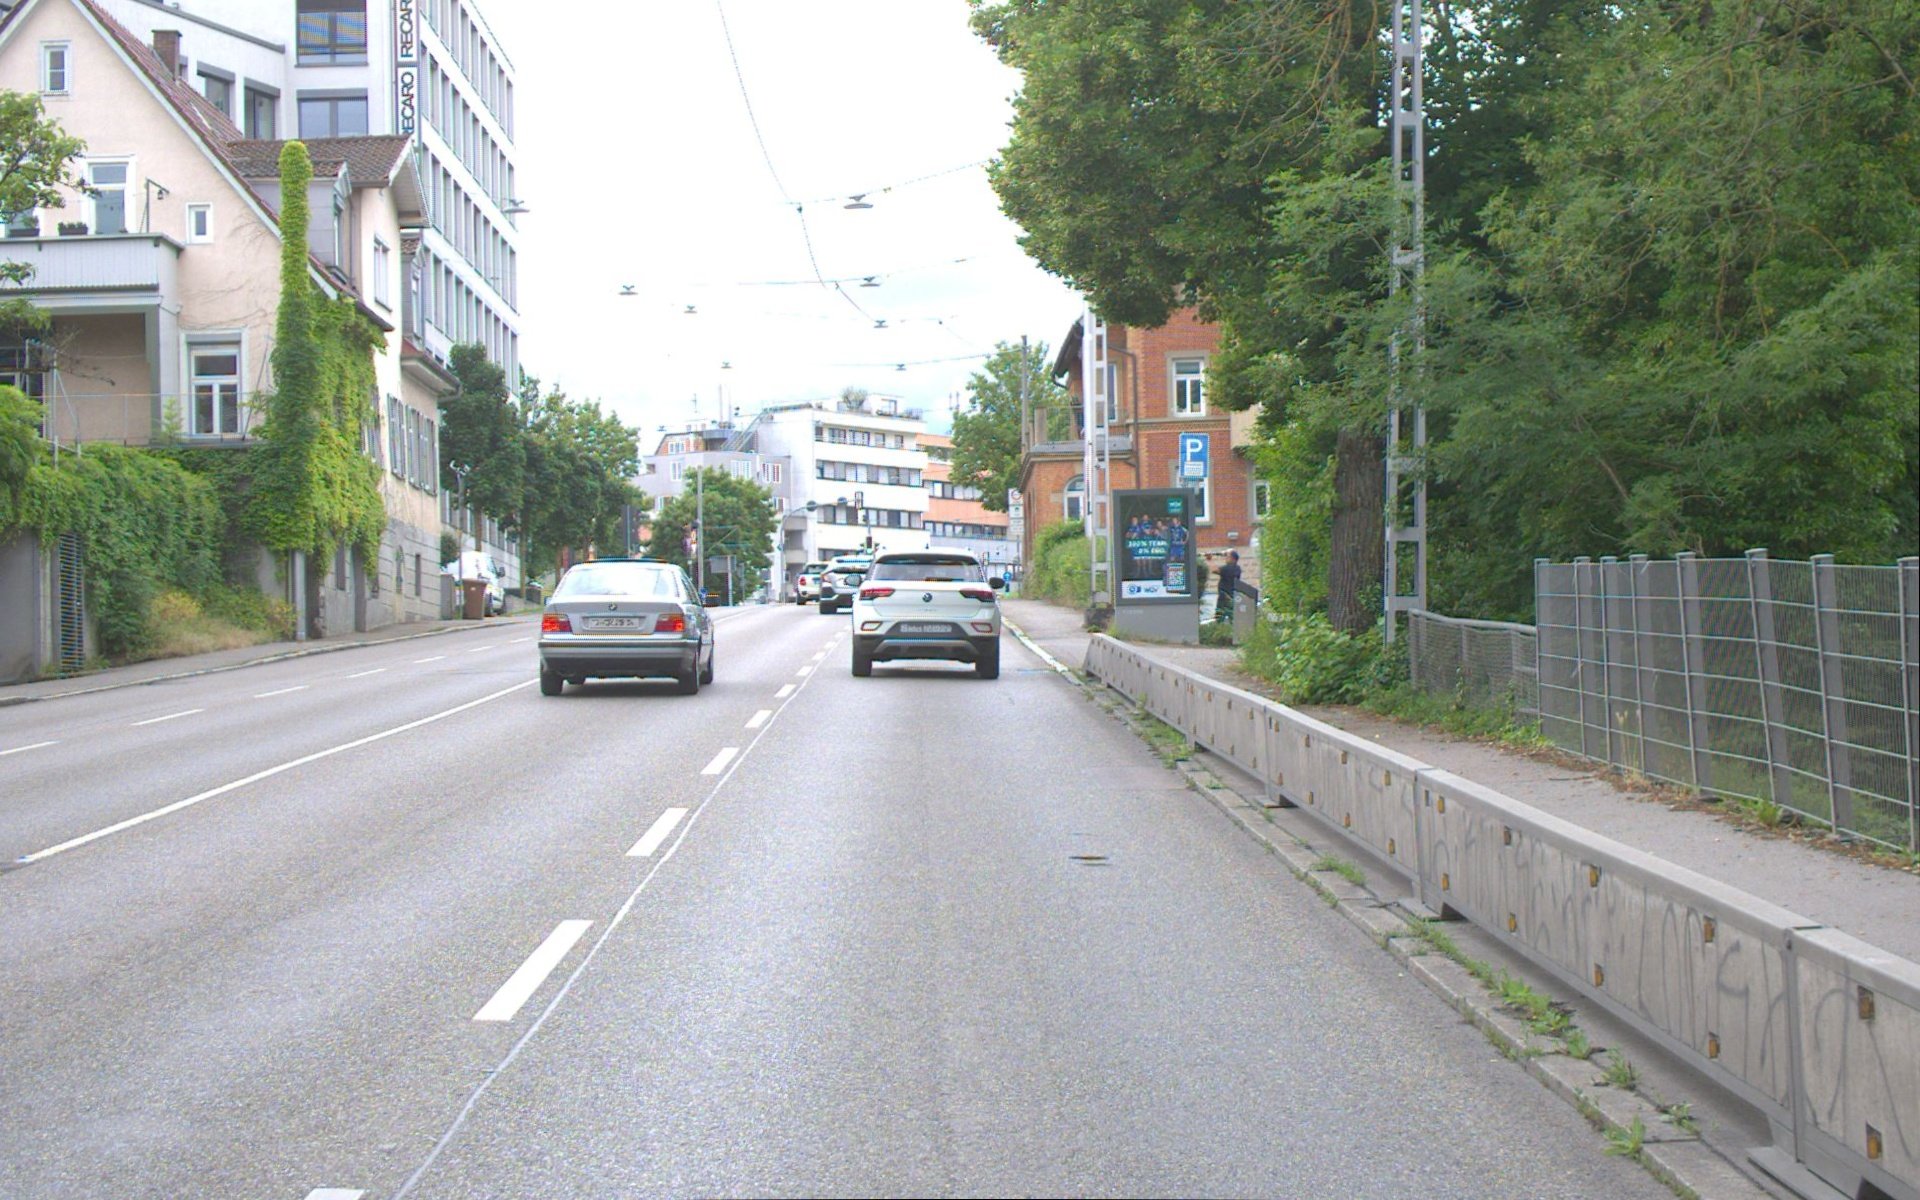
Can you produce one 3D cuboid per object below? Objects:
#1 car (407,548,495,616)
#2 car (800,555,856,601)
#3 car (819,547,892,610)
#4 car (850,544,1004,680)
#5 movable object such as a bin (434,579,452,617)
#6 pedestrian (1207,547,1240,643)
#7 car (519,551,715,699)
[{"bbox_3d":[-13.402,-0.494,90.641,1.993,1.695,4.001,-1,1,-5],"label":"car"},{"bbox_3d":[-4.356,-0.735,113.835,1.706,1.459,4.000,-1,1,-1],"label":"car"},{"bbox_3d":[-2.552,-0.548,84.676,1.706,1.459,4.000,-1,1,-1],"label":"car"},{"bbox_3d":[-0.446,0.113,42.102,1.780,1.573,4.000,0,1,-2],"label":"car"},{"bbox_3d":[-13.213,-0.061,87.857,0.426,0.962,0.359,1,-1,-3],"label":"movable object such as a bin"},{"bbox_3d":[4.747,-0.092,61.893,0.509,1.711,0.465,-1,1,-2],"label":"pedestrian"},{"bbox_3d":[-3.592,0.222,36.583,1.706,1.459,4.000,-1,1,-1],"label":"car"}]
